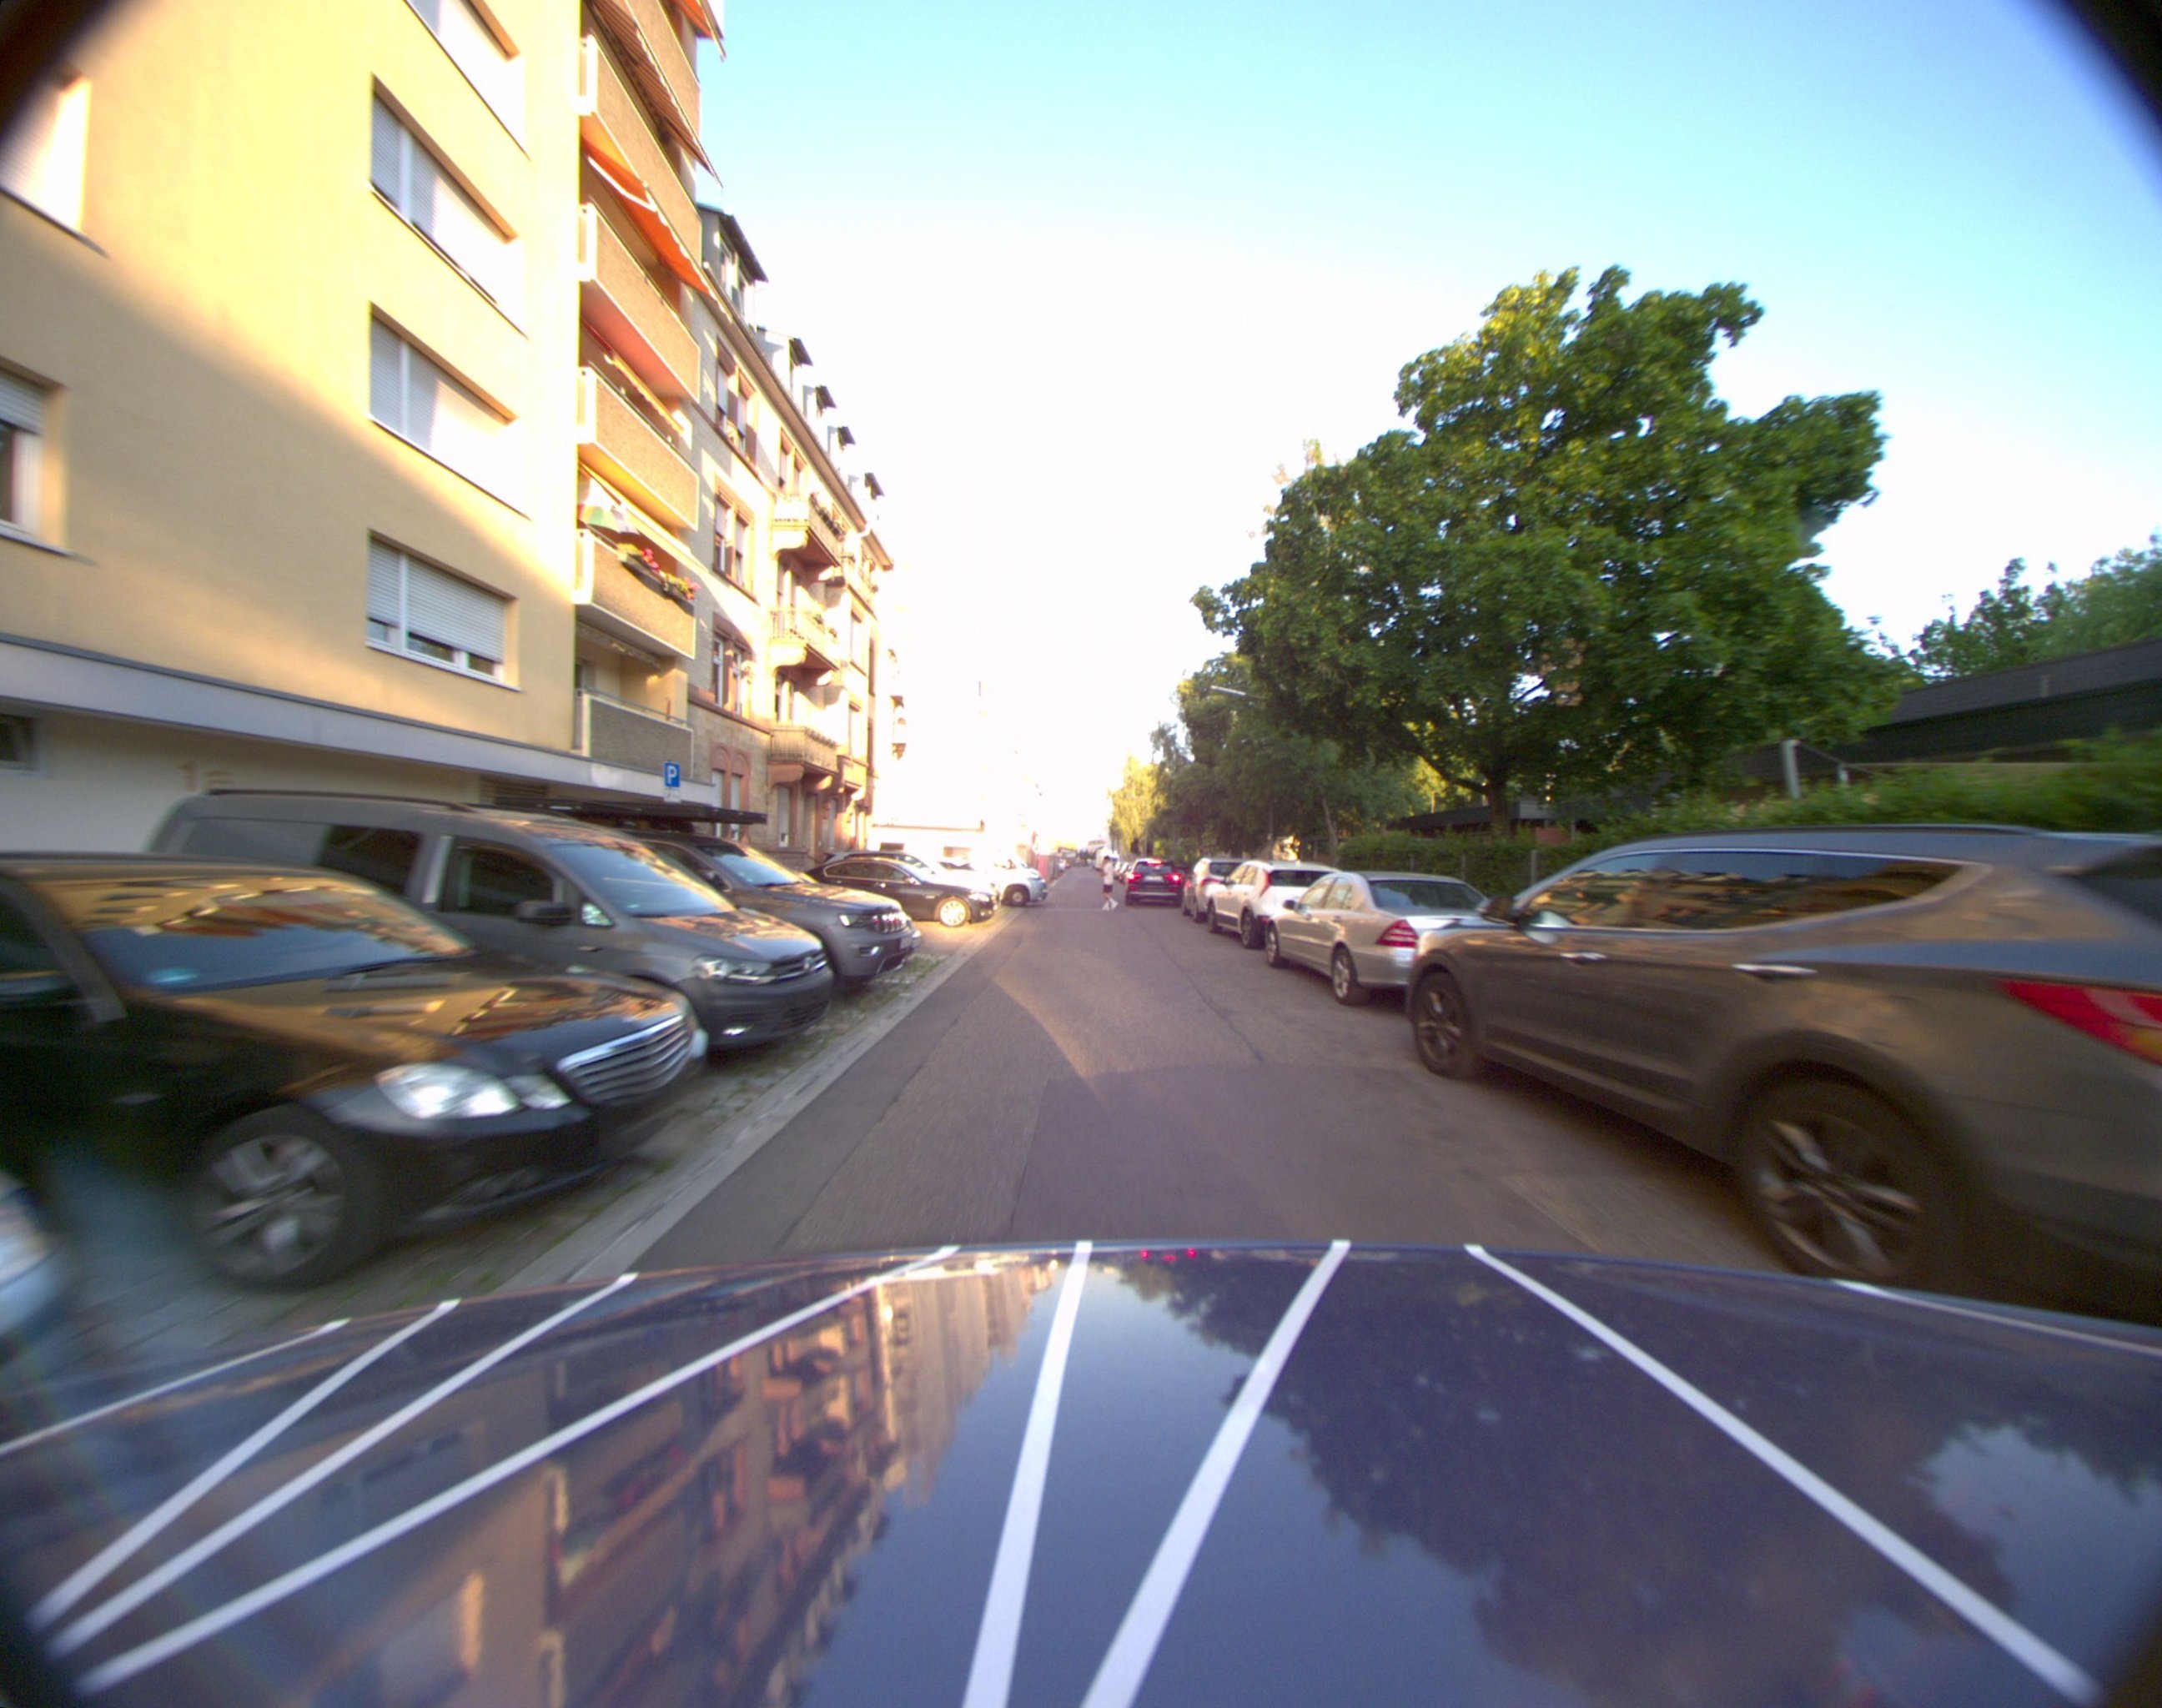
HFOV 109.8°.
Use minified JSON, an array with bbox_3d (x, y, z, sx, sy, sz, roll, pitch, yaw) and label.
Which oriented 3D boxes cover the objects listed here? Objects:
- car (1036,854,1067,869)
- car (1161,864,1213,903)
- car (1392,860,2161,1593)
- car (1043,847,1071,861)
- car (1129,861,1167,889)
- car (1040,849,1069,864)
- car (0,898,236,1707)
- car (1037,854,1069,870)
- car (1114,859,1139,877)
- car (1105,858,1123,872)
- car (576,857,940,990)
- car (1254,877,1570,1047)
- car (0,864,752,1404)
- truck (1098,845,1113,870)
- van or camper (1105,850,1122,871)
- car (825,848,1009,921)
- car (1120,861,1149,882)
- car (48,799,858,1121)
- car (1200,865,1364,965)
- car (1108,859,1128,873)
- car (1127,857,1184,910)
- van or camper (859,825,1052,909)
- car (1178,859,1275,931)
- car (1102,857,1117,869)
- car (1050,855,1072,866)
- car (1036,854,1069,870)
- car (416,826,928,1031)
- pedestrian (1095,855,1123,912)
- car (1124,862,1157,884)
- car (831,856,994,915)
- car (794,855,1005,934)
[{"bbox_3d":[-3.878,0.972,99.758,3.997,2.002,2.000,0,0,0],"label":"car"},{"bbox_3d":[4.240,1.143,30.829,1.624,1.417,3.415,2,0,0],"label":"car"},{"bbox_3d":[3.369,0.922,3.695,1.738,1.720,4.322,2,0,-3],"label":"car"},{"bbox_3d":[-3.500,0.051,111.412,3.997,2.002,2.000,0,0,0],"label":"car"},{"bbox_3d":[3.746,1.166,42.839,1.738,1.417,3.804,2,0,-1],"label":"car"},{"bbox_3d":[-3.695,0.369,107.962,3.997,2.002,2.000,0,0,0],"label":"car"},{"bbox_3d":[-4.340,0.880,0.972,4.415,1.584,1.845,2,2,0],"label":"car"},{"bbox_3d":[-3.526,0.973,97.209,3.997,2.002,2.000,0,0,0],"label":"car"},{"bbox_3d":[3.679,1.105,62.027,1.738,1.358,4.291,2,0,-1],"label":"car"},{"bbox_3d":[3.713,1.190,86.053,1.738,1.502,4.291,2,0,-1],"label":"car"},{"bbox_3d":[-4.430,0.915,10.887,4.414,1.545,1.845,2,2,2],"label":"car"},{"bbox_3d":[3.552,1.063,9.154,1.738,1.418,4.286,2,0,-3],"label":"car"},{"bbox_3d":[-4.066,0.916,3.345,4.415,1.554,1.845,2,2,0],"label":"car"},{"bbox_3d":[3.820,0.524,118.635,2.182,3.860,4.926,-1,0,0],"label":"truck"},{"bbox_3d":[3.889,0.771,91.627,1.825,2.400,4.291,2,0,-1],"label":"van or camper"},{"bbox_3d":[-4.248,0.783,20.165,4.414,1.738,1.846,2,0,0],"label":"car"},{"bbox_3d":[3.736,1.212,53.583,1.738,1.358,3.804,2,0,-1],"label":"car"},{"bbox_3d":[-4.329,0.669,5.845,4.649,1.970,1.845,2,2,0],"label":"car"},{"bbox_3d":[3.572,1.014,14.370,1.763,1.534,4.279,2,0,-3],"label":"car"},{"bbox_3d":[3.917,1.252,80.789,1.738,1.358,4.291,2,0,-1],"label":"car"},{"bbox_3d":[2.636,0.953,26.163,1.736,1.621,4.128,2,0,8],"label":"car"},{"bbox_3d":[-4.093,0.428,25.548,6.074,2.489,2.050,2,0,0],"label":"van or camper"},{"bbox_3d":[3.632,0.959,19.642,1.738,1.621,3.981,2,0,1],"label":"car"},{"bbox_3d":[3.736,1.226,100.837,1.738,1.502,4.291,2,0,-1],"label":"car"},{"bbox_3d":[-3.777,1.214,140.689,3.997,2.002,2.000,0,0,0],"label":"car"},{"bbox_3d":[-3.574,0.977,94.990,3.997,2.002,2.000,0,0,0],"label":"car"},{"bbox_3d":[-4.136,0.721,8.258,4.524,1.852,1.845,2,0,0],"label":"car"},{"bbox_3d":[0.852,0.903,23.327,0.748,1.693,0.558,-2,1,-3],"label":"pedestrian"},{"bbox_3d":[3.760,1.215,48.512,1.738,1.280,3.804,2,0,-1],"label":"car"},{"bbox_3d":[-4.936,0.919,22.697,4.414,1.610,1.845,0,2,2],"label":"car"},{"bbox_3d":[-4.082,0.891,17.592,4.414,1.545,1.845,2,2,1],"label":"car"}]
